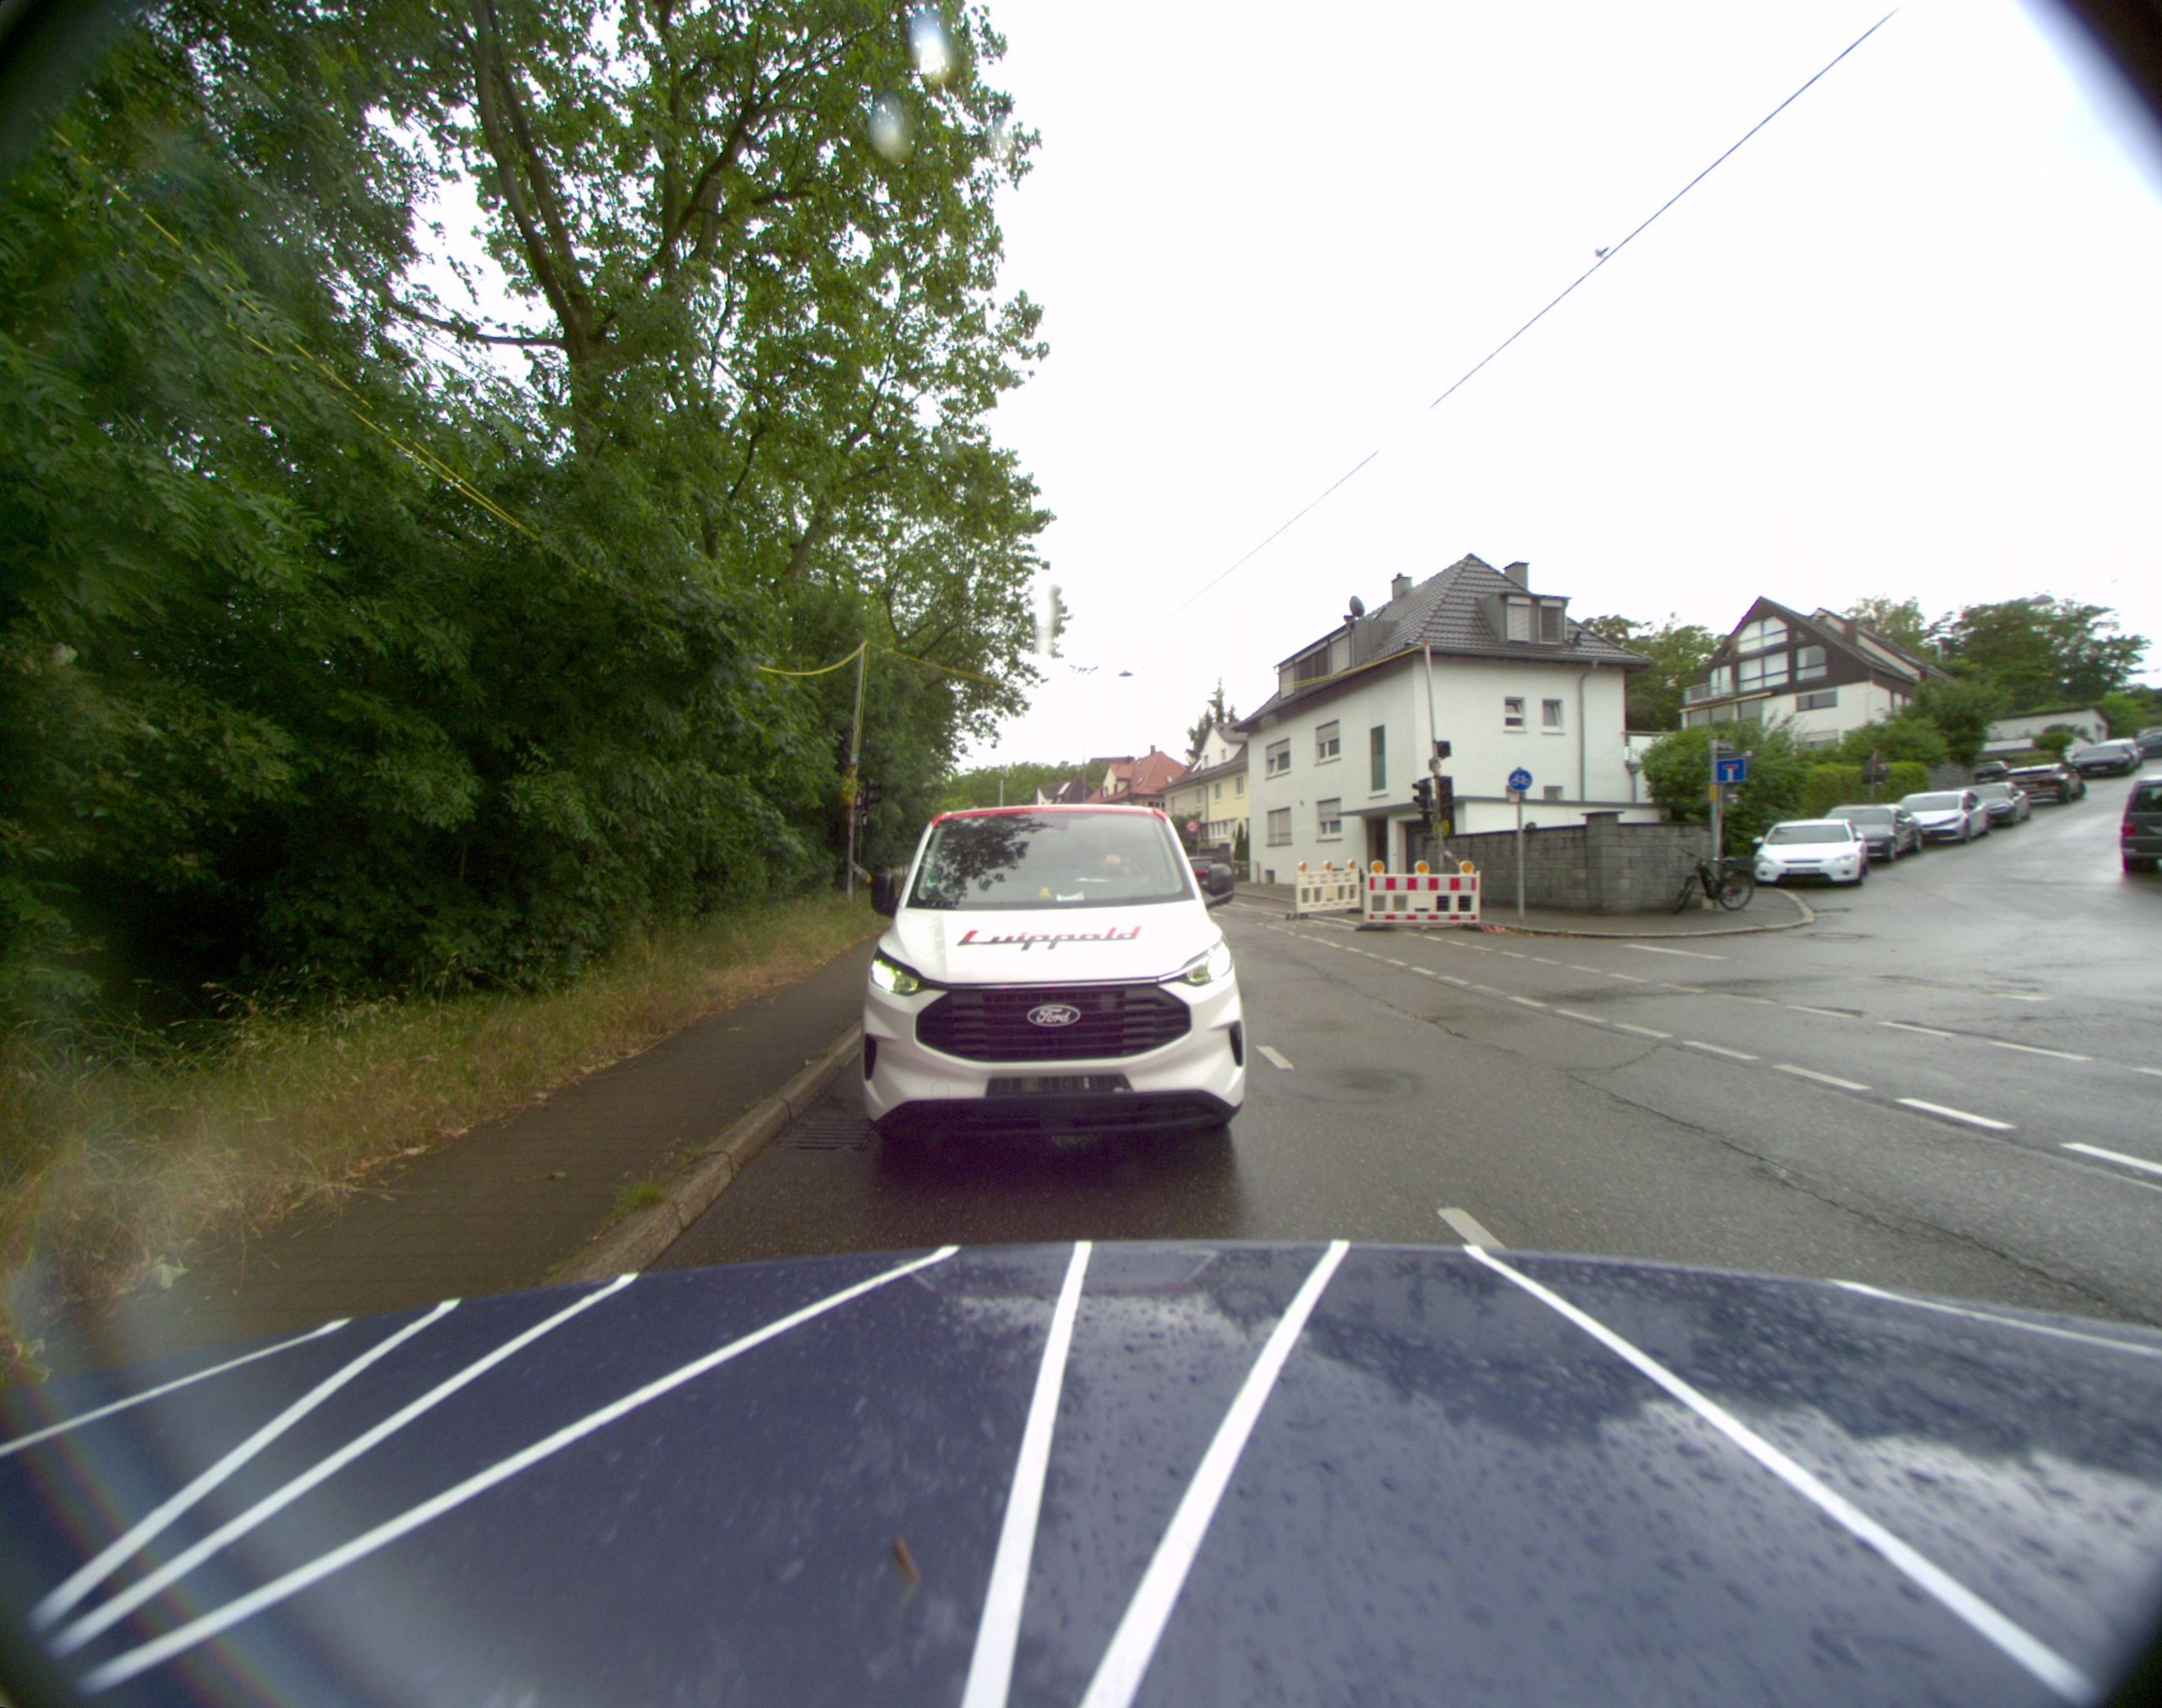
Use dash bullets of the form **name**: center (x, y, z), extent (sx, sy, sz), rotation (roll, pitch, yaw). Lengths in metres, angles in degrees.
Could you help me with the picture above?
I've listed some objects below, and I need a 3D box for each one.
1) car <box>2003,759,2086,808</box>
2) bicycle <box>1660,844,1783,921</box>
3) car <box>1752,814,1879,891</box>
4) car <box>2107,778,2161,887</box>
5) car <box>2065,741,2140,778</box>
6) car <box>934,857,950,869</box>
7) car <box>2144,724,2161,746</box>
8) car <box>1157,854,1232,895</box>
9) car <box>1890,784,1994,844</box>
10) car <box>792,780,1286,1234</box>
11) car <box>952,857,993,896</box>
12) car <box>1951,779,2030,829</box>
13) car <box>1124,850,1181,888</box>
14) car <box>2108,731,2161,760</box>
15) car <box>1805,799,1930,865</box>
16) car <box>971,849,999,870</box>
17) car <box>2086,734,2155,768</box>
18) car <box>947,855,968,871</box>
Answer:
- **car**: center (40.561, -2.974, 31.973), extent (3.988, 1.547, 1.333), rotation (-9, 3, -26)
- **bicycle**: center (11.725, 0.509, 13.930), extent (1.732, 1.304, 0.707), rotation (-2, 1, -7)
- **car**: center (17.669, -0.062, 18.235), extent (3.566, 1.458, 1.746), rotation (-7, 2, -39)
- **car**: center (23.511, -0.546, 15.988), extent (3.801, 1.926, 1.911), rotation (-9, 3, -31)
- **car**: center (54.726, -5.070, 40.700), extent (3.834, 1.492, 1.733), rotation (-9, 3, -26)
- **car**: center (-18.847, 1.189, 102.953), extent (1.767, 1.519, 3.585), rotation (-2, 1, -17)
- **car**: center (81.263, -8.945, 55.764), extent (1.624, 1.492, 3.514), rotation (-9, 3, -24)
- **car**: center (4.382, 0.828, 29.906), extent (1.898, 1.485, 3.795), rotation (-1, -2, -8)
- **car**: center (27.257, -1.287, 24.038), extent (3.859, 1.458, 1.579), rotation (-8, 4, -32)
- **car**: center (-0.142, 0.637, 5.862), extent (2.045, 1.883, 5.208), rotation (-2, 1, 1)
- **car**: center (-4.888, 1.018, 34.415), extent (1.670, 1.579, 4.004), rotation (-3, -2, -8)
- **car**: center (32.159, -1.784, 26.845), extent (3.508, 1.383, 1.333), rotation (-8, 4, -32)
- **car**: center (3.195, 0.699, 34.705), extent (1.670, 1.579, 4.004), rotation (-3, -2, -8)
- **car**: center (68.145, -6.965, 48.104), extent (1.582, 1.492, 3.607), rotation (-10, 4, -34)
- **car**: center (22.448, -0.637, 21.652), extent (3.859, 1.458, 1.700), rotation (-7, 2, -32)
- **car**: center (-9.649, 0.515, 76.079), extent (2.001, 2.002, 3.994), rotation (-2, 1, -17)
- **car**: center (60.634, -6.007, 44.328), extent (3.834, 1.492, 1.733), rotation (-9, 3, -26)
- **car**: center (-15.323, 1.134, 94.066), extent (2.001, 1.850, 4.354), rotation (-2, 1, -17)
